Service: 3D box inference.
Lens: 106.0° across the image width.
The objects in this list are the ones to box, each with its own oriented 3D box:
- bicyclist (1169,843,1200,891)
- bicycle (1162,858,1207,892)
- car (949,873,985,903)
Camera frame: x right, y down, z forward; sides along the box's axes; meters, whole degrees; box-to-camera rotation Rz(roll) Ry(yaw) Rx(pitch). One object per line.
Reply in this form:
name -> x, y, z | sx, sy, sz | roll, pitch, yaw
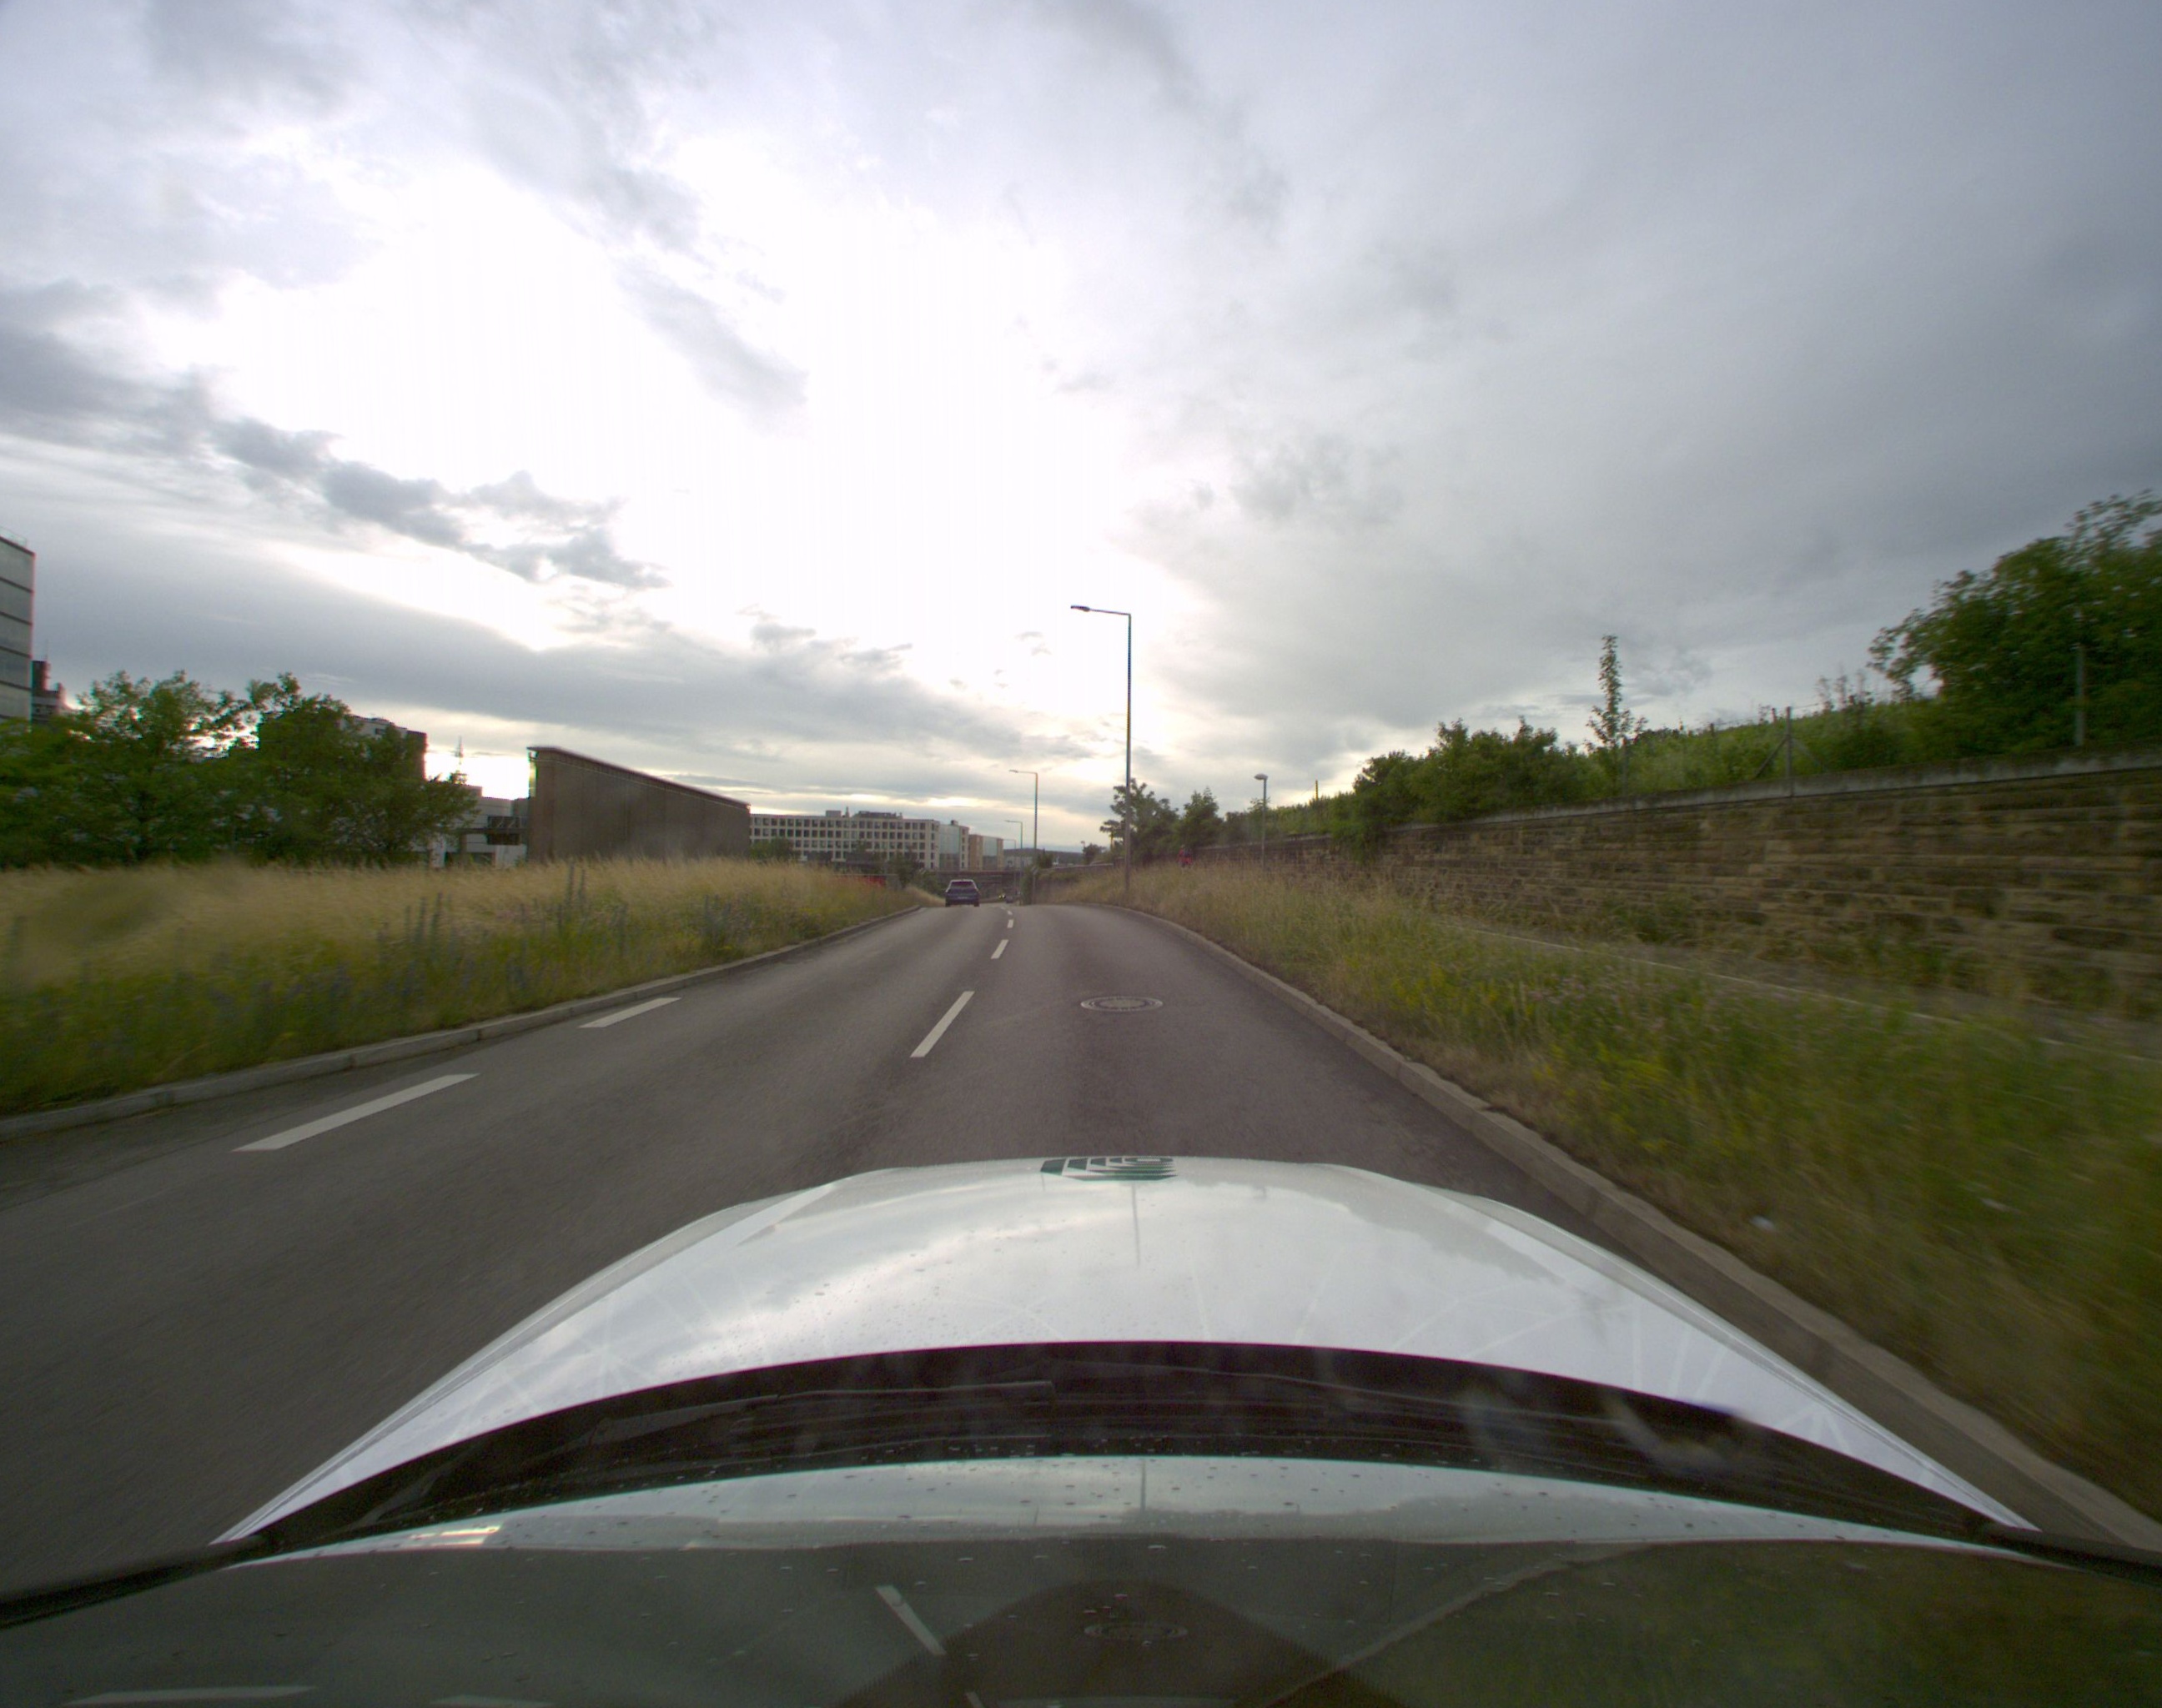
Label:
bicyclist -> 4.256, 0.536, 33.660 | 0.869, 1.909, 1.290 | 3, -2, -9
bicycle -> 4.246, 0.842, 33.741 | 0.869, 1.288, 3.475 | 3, -1, -9
car -> -5.974, 1.776, 42.975 | 1.747, 1.420, 3.470 | 1, 0, -6
